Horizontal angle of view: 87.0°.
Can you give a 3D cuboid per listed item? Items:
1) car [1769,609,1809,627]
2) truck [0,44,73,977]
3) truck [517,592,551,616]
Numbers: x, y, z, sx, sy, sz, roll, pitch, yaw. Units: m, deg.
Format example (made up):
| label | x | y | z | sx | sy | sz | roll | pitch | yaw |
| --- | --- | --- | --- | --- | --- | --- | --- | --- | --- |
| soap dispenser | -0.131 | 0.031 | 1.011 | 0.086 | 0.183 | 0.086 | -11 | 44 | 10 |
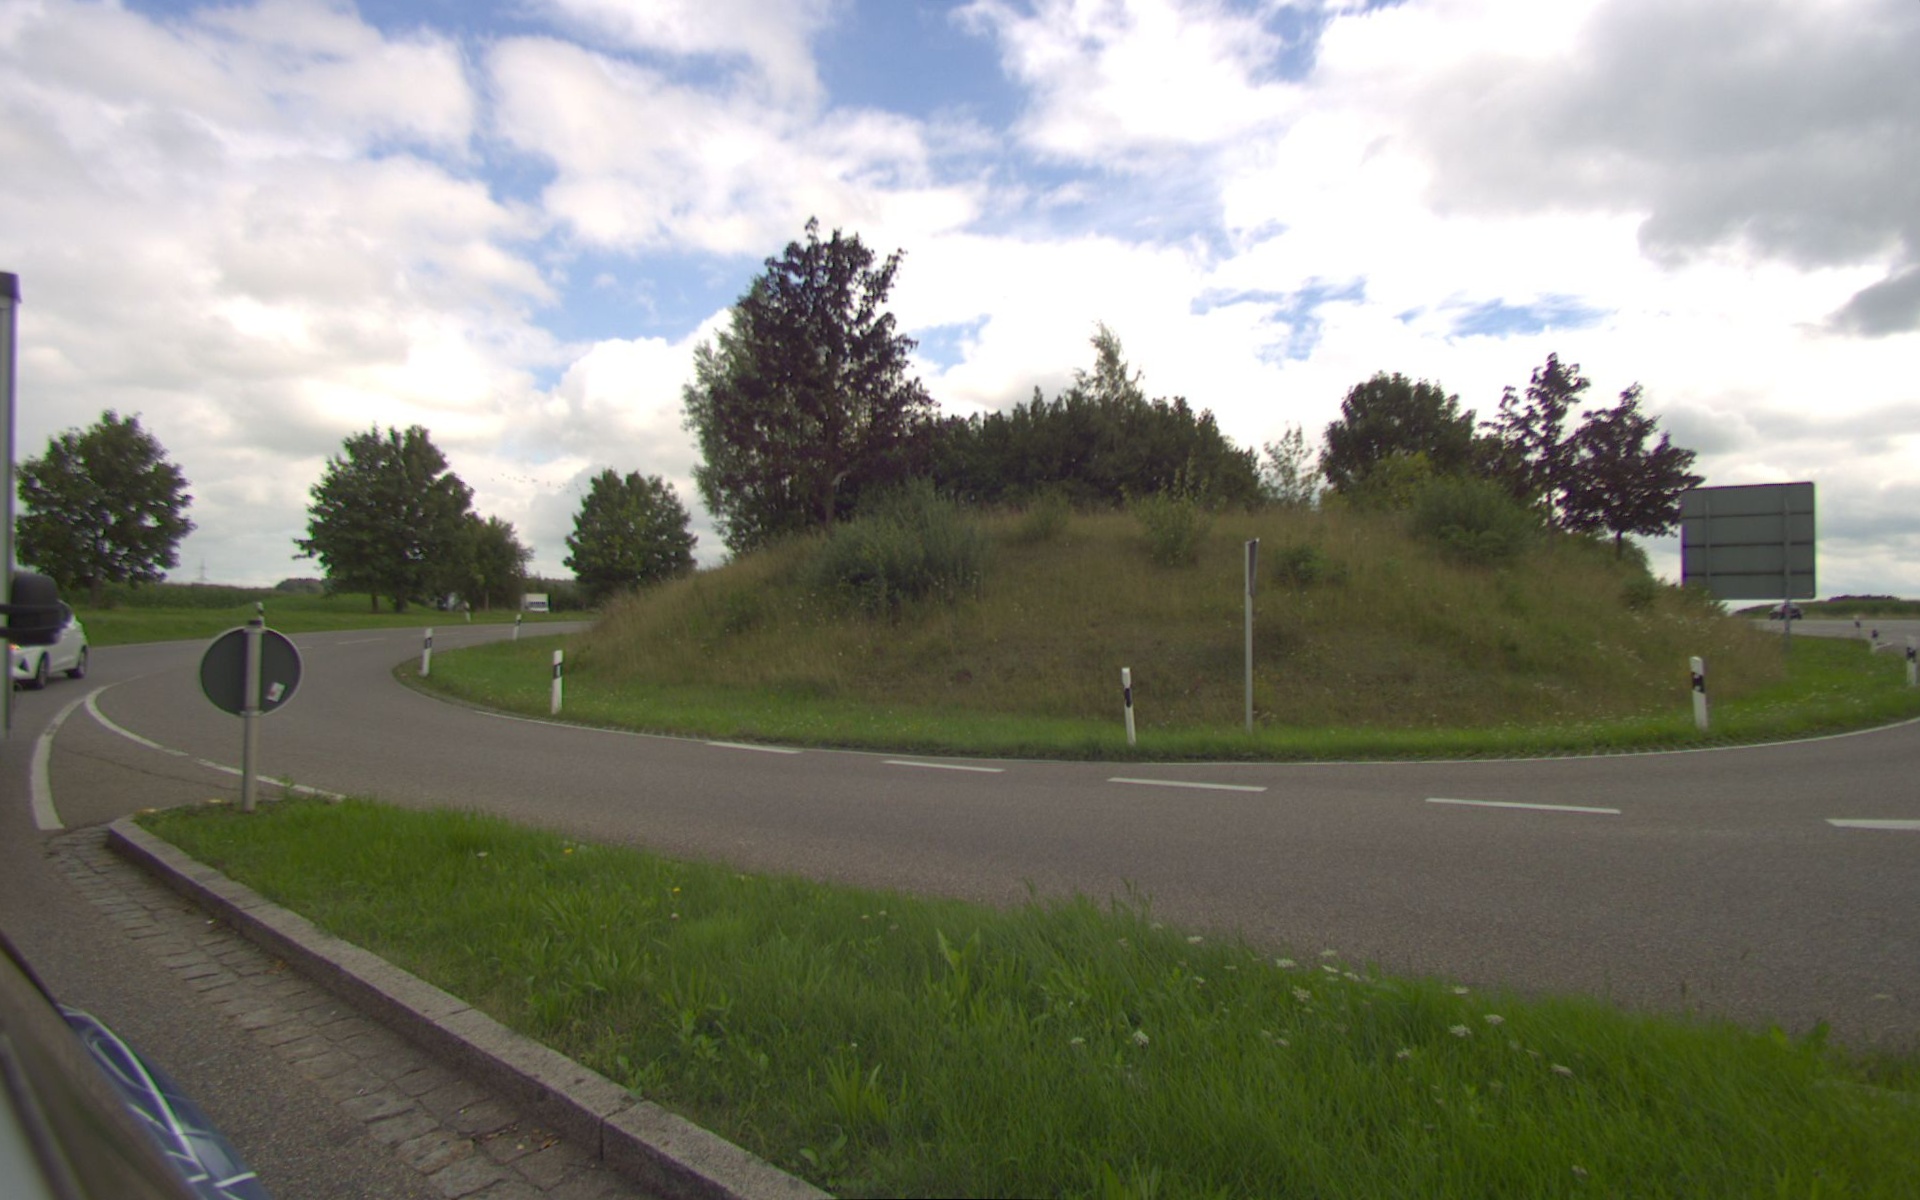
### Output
| label | x | y | z | sx | sy | sz | roll | pitch | yaw |
| --- | --- | --- | --- | --- | --- | --- | --- | --- | --- |
| car | 77.567 | 1.692 | 94.745 | 1.838 | 1.702 | 3.967 | 0 | -1 | 24 |
| truck | -7.898 | -0.433 | 6.299 | 8.803 | 3.792 | 2.798 | 1 | -1 | 44 |
| truck | -45.628 | 0.465 | 108.317 | 2.253 | 2.439 | 6.400 | 0 | -1 | -33 |
